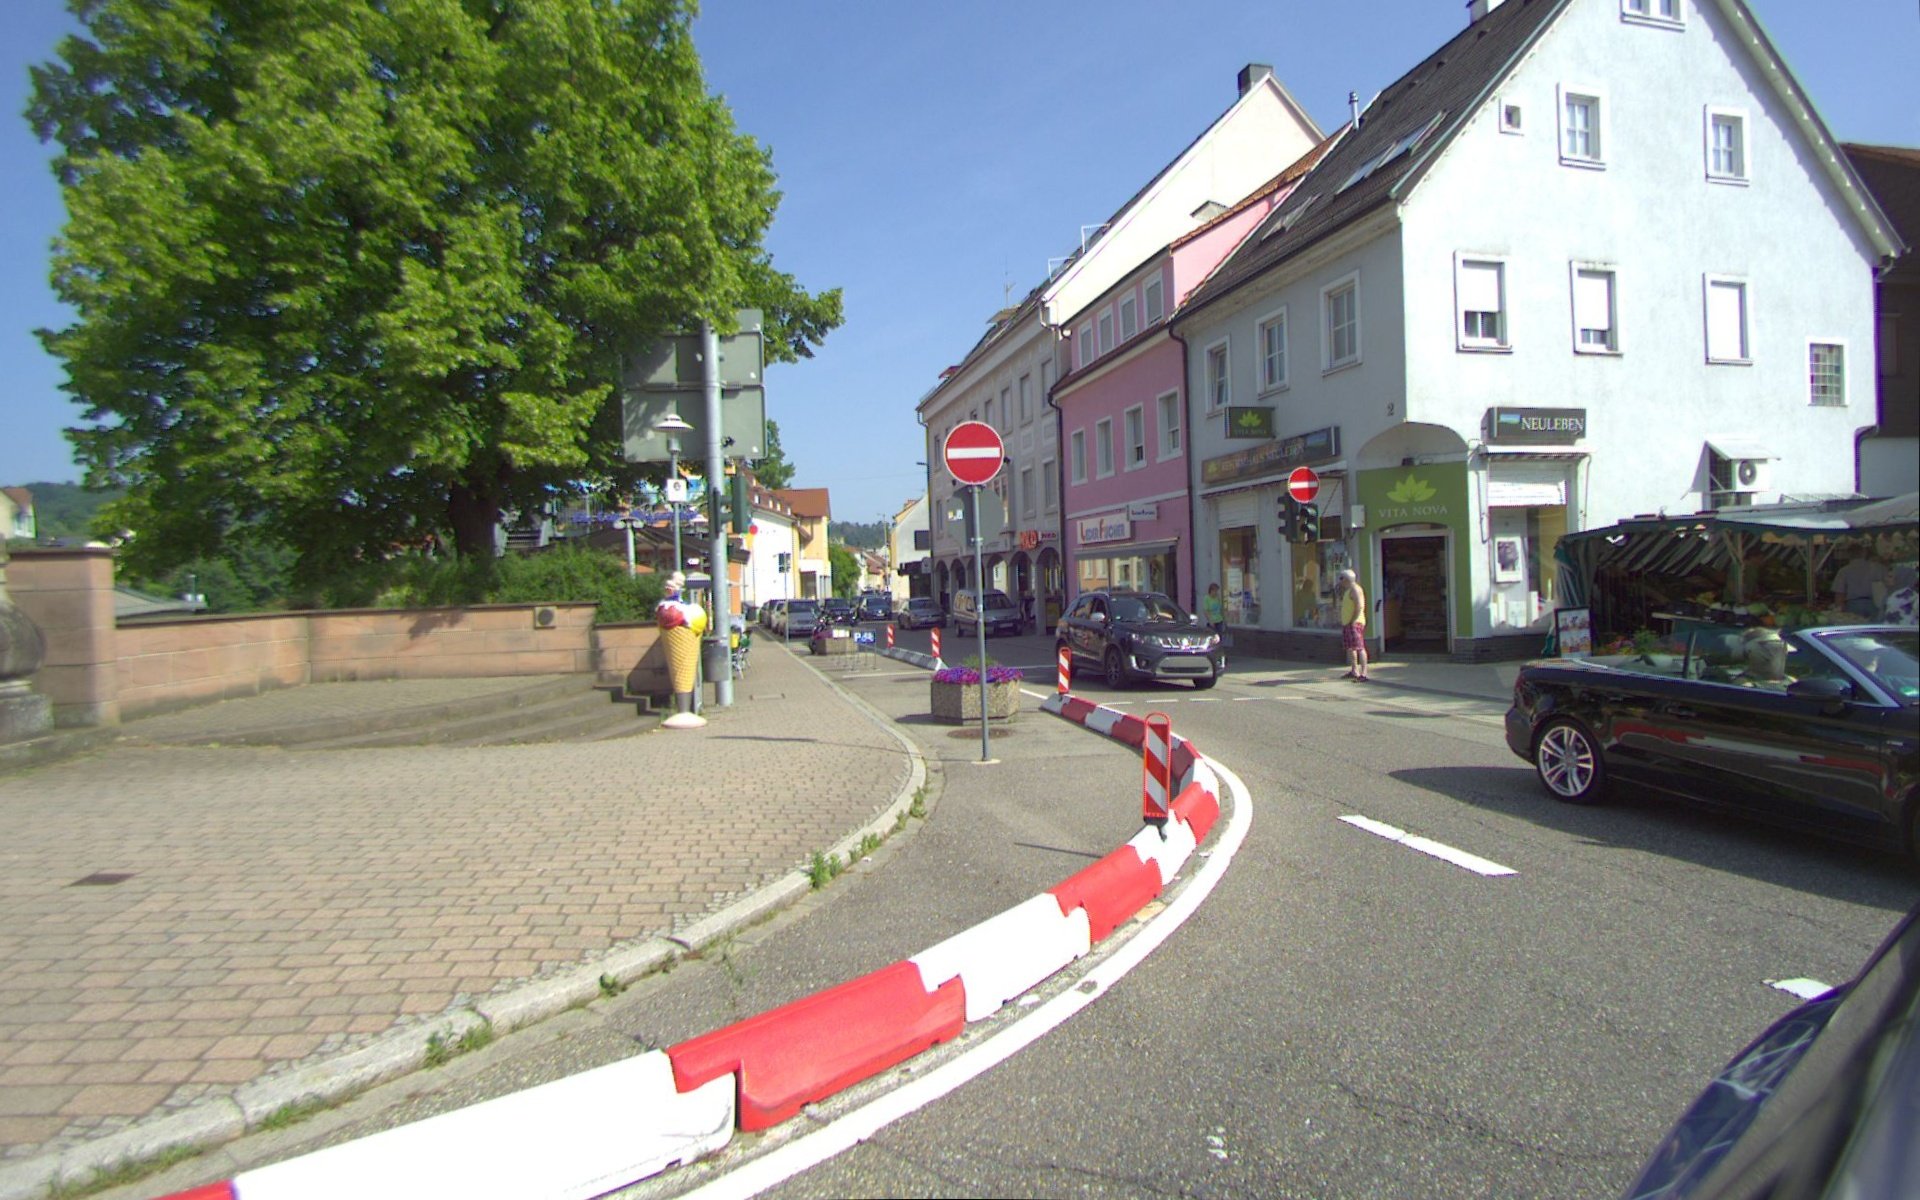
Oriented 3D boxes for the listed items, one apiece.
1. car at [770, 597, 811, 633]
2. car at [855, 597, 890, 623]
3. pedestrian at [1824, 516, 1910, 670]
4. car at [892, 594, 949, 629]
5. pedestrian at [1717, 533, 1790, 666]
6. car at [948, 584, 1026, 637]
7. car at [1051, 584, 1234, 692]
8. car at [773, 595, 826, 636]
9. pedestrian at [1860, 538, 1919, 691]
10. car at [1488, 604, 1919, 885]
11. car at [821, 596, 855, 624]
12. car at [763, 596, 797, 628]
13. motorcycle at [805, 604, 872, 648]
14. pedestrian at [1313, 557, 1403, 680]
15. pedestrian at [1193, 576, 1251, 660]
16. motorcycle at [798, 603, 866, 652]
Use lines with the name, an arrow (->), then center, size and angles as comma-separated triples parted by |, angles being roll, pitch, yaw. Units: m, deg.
car -> -8.200, 0.705, 48.831 | 1.649, 1.578, 4.111 | -2, 0, -13
car -> -5.816, 0.646, 66.845 | 1.734, 1.580, 3.978 | -2, 0, -13
pedestrian -> 12.270, -0.098, 13.698 | 0.640, 2.010, 0.707 | -2, 1, -34
car -> -1.926, 0.499, 47.916 | 1.771, 1.488, 4.463 | -3, 1, -13
pedestrian -> 12.205, -0.004, 15.580 | 0.697, 1.995, 0.506 | -1, 0, 14
car -> 0.924, 0.361, 37.312 | 1.676, 1.761, 4.154 | -4, 1, -15
car -> 2.985, 0.572, 17.459 | 1.649, 1.580, 3.978 | -2, 0, -13
car -> -7.008, 0.628, 43.880 | 1.714, 1.617, 4.603 | -3, 0, -15
pedestrian -> 11.239, 0.151, 11.844 | 0.776, 1.745, 0.705 | -1, 1, 12
car -> 5.496, 0.732, 6.263 | 1.720, 1.373, 4.206 | -1, 0, -10
car -> -7.315, 0.564, 60.485 | 1.649, 1.580, 3.348 | -2, 0, -13
car -> -10.033, 0.632, 56.276 | 1.649, 1.666, 4.259 | -1, 0, -13
motorcycle -> -3.837, 0.806, 32.090 | 0.923, 1.286, 2.064 | -2, 0, 36
pedestrian -> 6.438, 0.298, 16.372 | 1.015, 1.836, 0.897 | -5, 2, 37
pedestrian -> 5.428, 0.363, 20.999 | 0.772, 1.652, 0.860 | -4, 1, -11
motorcycle -> -3.836, 0.816, 30.400 | 0.913, 1.375, 1.872 | -2, 0, 42
